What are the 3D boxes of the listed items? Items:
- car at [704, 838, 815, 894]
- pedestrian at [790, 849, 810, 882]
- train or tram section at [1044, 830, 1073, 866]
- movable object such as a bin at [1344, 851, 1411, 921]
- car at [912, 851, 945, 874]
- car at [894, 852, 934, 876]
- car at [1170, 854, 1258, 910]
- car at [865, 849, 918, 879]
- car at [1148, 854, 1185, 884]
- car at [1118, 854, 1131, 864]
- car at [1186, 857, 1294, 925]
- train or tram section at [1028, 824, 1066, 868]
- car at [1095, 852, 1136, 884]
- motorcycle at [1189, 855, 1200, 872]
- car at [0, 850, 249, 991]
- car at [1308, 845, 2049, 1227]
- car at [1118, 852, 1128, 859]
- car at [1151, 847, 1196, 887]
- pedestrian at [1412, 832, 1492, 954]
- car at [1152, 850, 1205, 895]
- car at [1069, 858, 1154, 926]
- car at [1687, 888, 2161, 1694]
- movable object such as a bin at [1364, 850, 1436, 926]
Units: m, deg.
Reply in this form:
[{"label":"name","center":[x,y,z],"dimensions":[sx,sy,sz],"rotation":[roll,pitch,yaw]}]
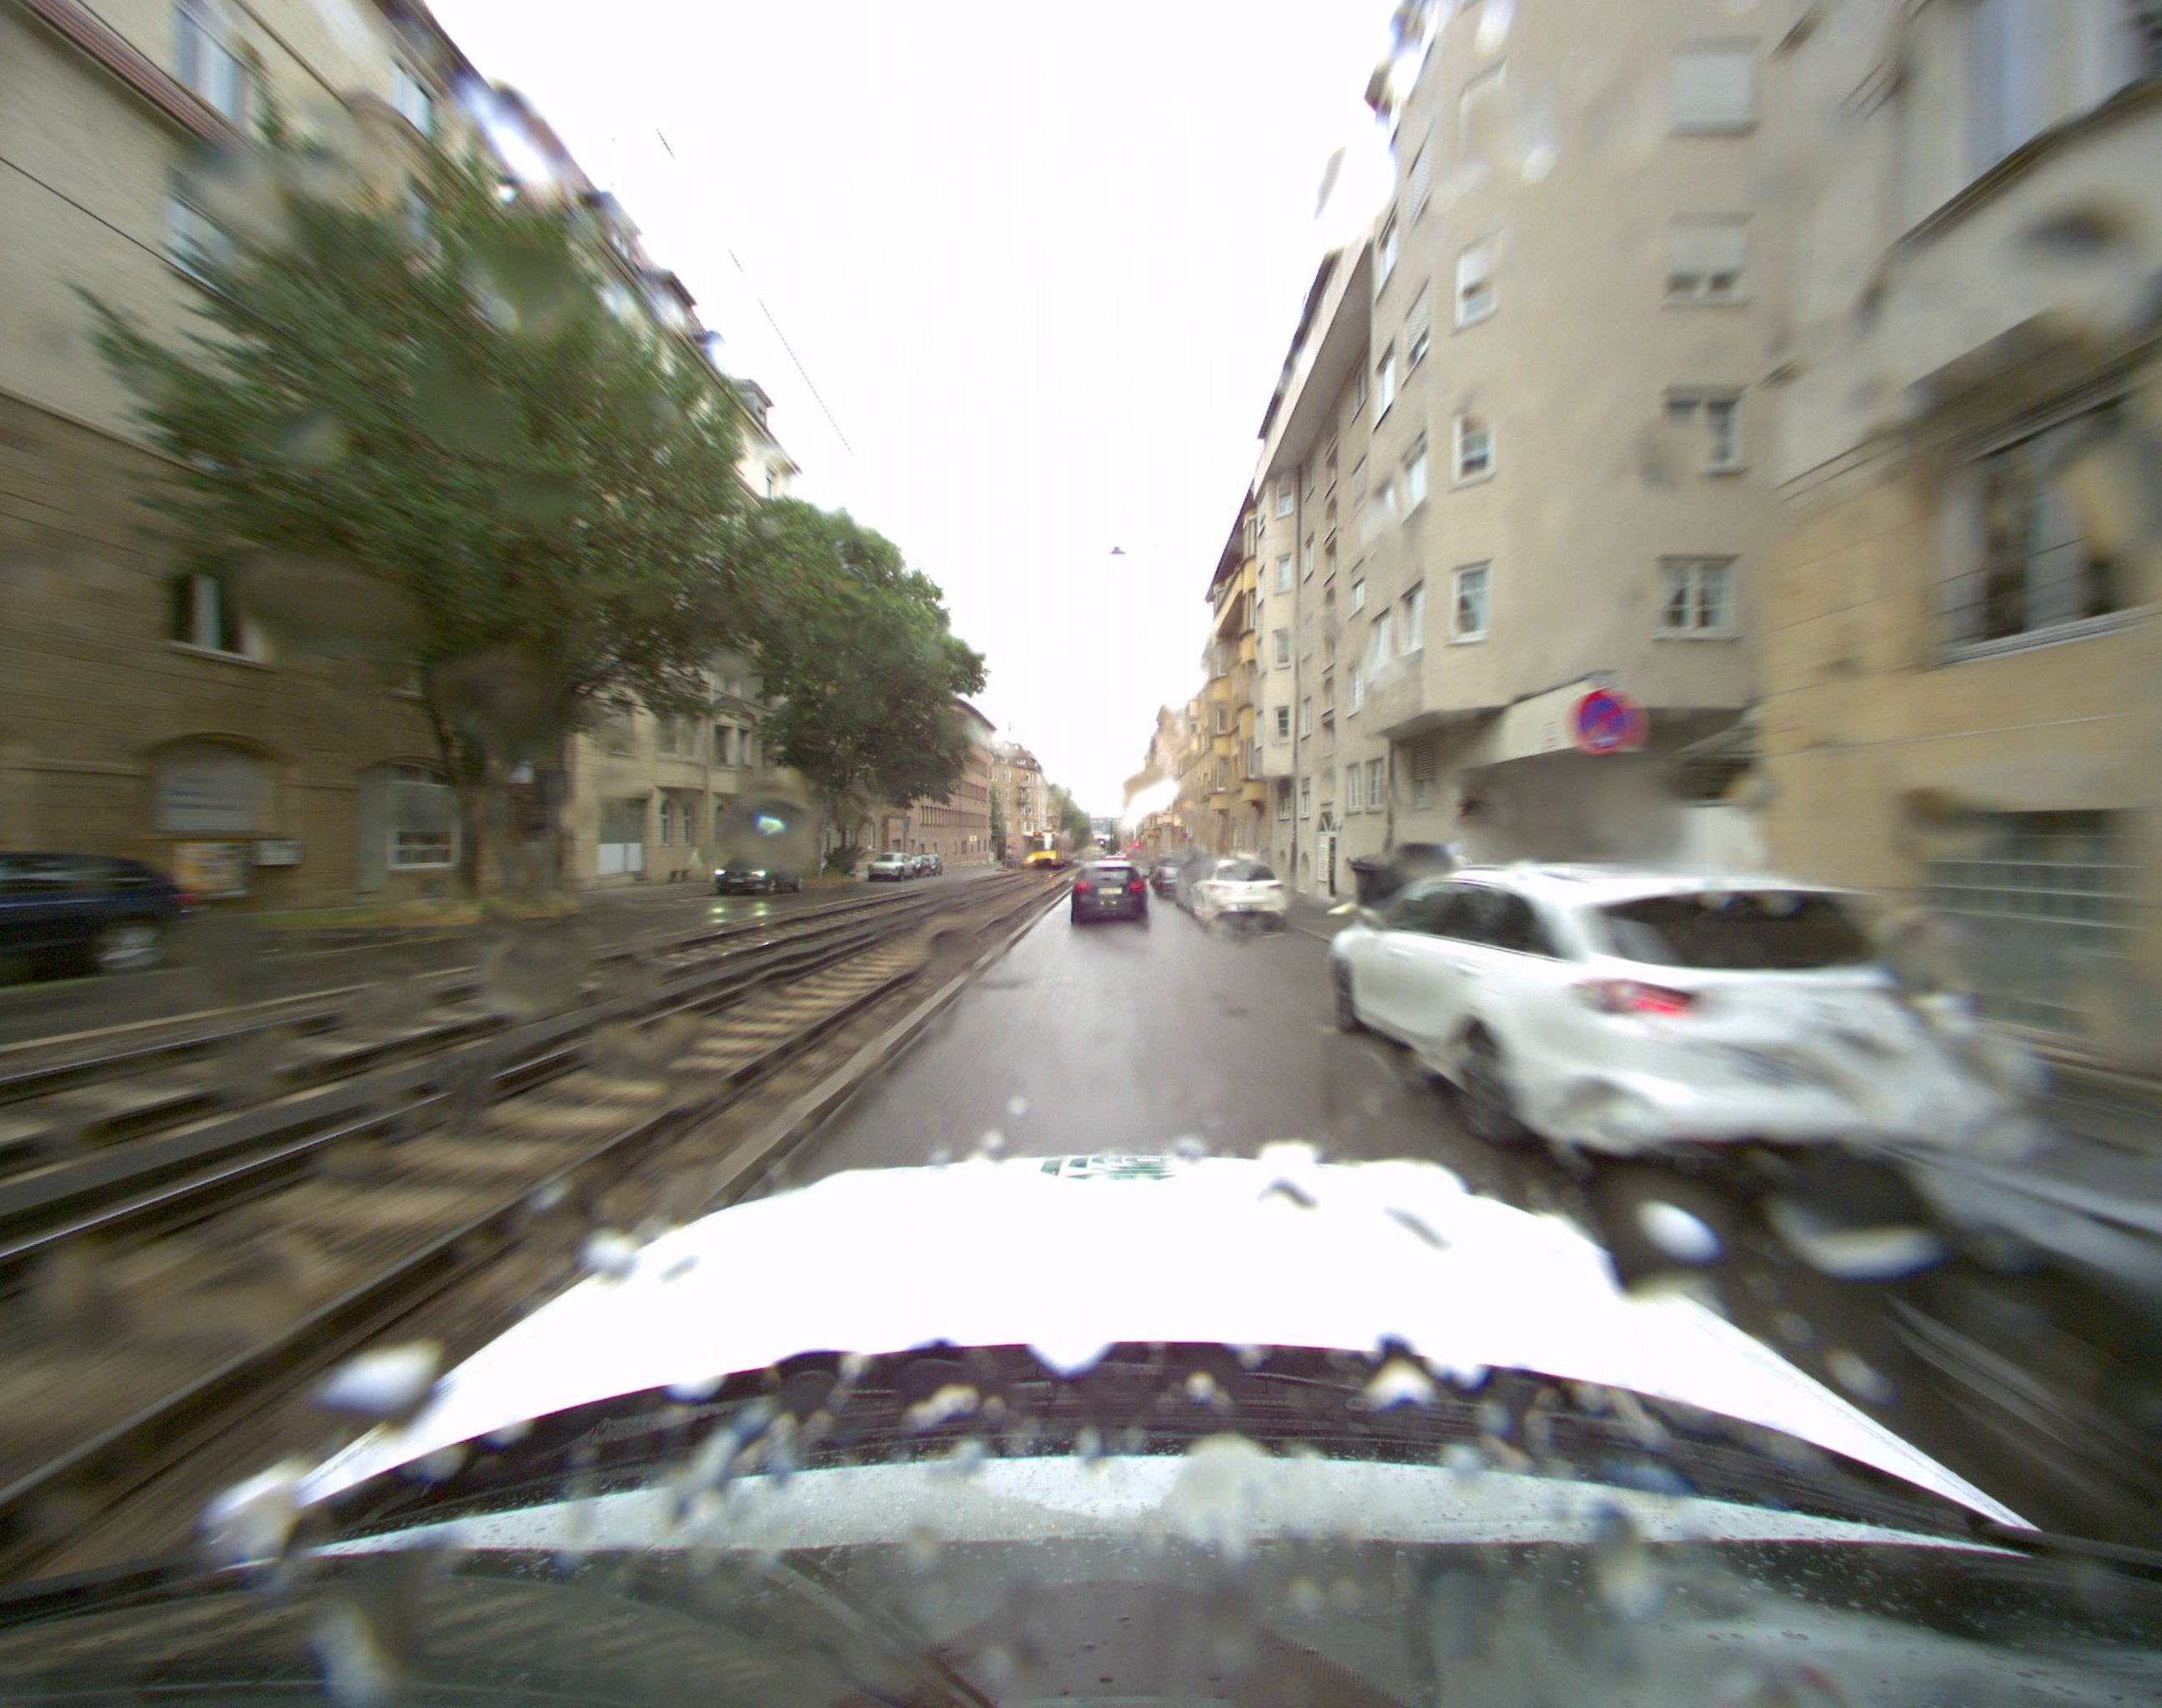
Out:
[{"label":"car","center":[-11.443,0.380,29.390],"dimensions":[1.946,1.742,4.779],"rotation":[3,0,1]},{"label":"pedestrian","center":[-14.171,0.580,41.072],"dimensions":[0.725,1.663,0.771],"rotation":[1,0,1]},{"label":"train or tram section","center":[-2.583,-0.735,99.330],"dimensions":[2.735,4.061,15.666],"rotation":[0,0,2]},{"label":"movable object such as a bin","center":[6.479,0.681,17.876],"dimensions":[1.014,1.468,1.323],"rotation":[0,-1,2]},{"label":"car","center":[-10.357,0.545,55.473],"dimensions":[1.566,1.466,3.045],"rotation":[1,0,1]},{"label":"car","center":[-10.553,0.592,51.711],"dimensions":[1.660,1.415,3.689],"rotation":[1,0,2]},{"label":"car","center":[3.685,0.751,23.355],"dimensions":[1.826,1.468,4.374],"rotation":[0,-1,0]},{"label":"car","center":[-10.788,0.538,46.655],"dimensions":[1.954,1.605,4.330],"rotation":[1,0,1]},{"label":"car","center":[4.368,0.758,41.952],"dimensions":[1.586,1.440,3.309],"rotation":[2,-1,0]},{"label":"car","center":[6.933,0.811,130.155],"dimensions":[1.879,1.525,4.250],"rotation":[1,0,4]},{"label":"car","center":[3.501,0.772,18.685],"dimensions":[1.782,1.385,4.397],"rotation":[0,-1,2]},{"label":"train or tram section","center":[-3.280,-0.769,83.099],"dimensions":[2.735,4.061,17.220],"rotation":[0,0,2]},{"label":"car","center":[1.772,0.712,41.798],"dimensions":[1.986,1.525,4.248],"rotation":[1,0,2]},{"label":"motorcycle","center":[8.354,0.682,60.096],"dimensions":[0.554,1.160,2.271],"rotation":[-4,0,4]},{"label":"car","center":[-12.101,0.691,8.434],"dimensions":[1.775,1.460,4.979],"rotation":[0,-1,1]},{"label":"car","center":[2.971,0.728,5.549],"dimensions":[1.705,1.468,4.776],"rotation":[0,-1,3]},{"label":"car","center":[9.397,0.303,180.940],"dimensions":[2.126,1.525,4.248],"rotation":[1,0,2]},{"label":"car","center":[4.173,0.589,37.337],"dimensions":[1.771,1.750,4.552],"rotation":[0,-1,3]},{"label":"pedestrian","center":[5.287,0.547,11.644],"dimensions":[0.801,1.687,0.754],"rotation":[0,-1,1]},{"label":"car","center":[3.658,0.679,31.154],"dimensions":[1.833,1.608,4.766],"rotation":[0,-1,4]},{"label":"car","center":[0.750,0.838,19.588],"dimensions":[1.827,1.453,3.904],"rotation":[0,0,2]},{"label":"car","center":[2.712,0.791,0.262],"dimensions":[1.703,1.410,4.822],"rotation":[0,-1,4]},{"label":"movable object such as a bin","center":[6.396,0.664,16.381],"dimensions":[0.976,1.468,1.273],"rotation":[0,-1,2]}]
